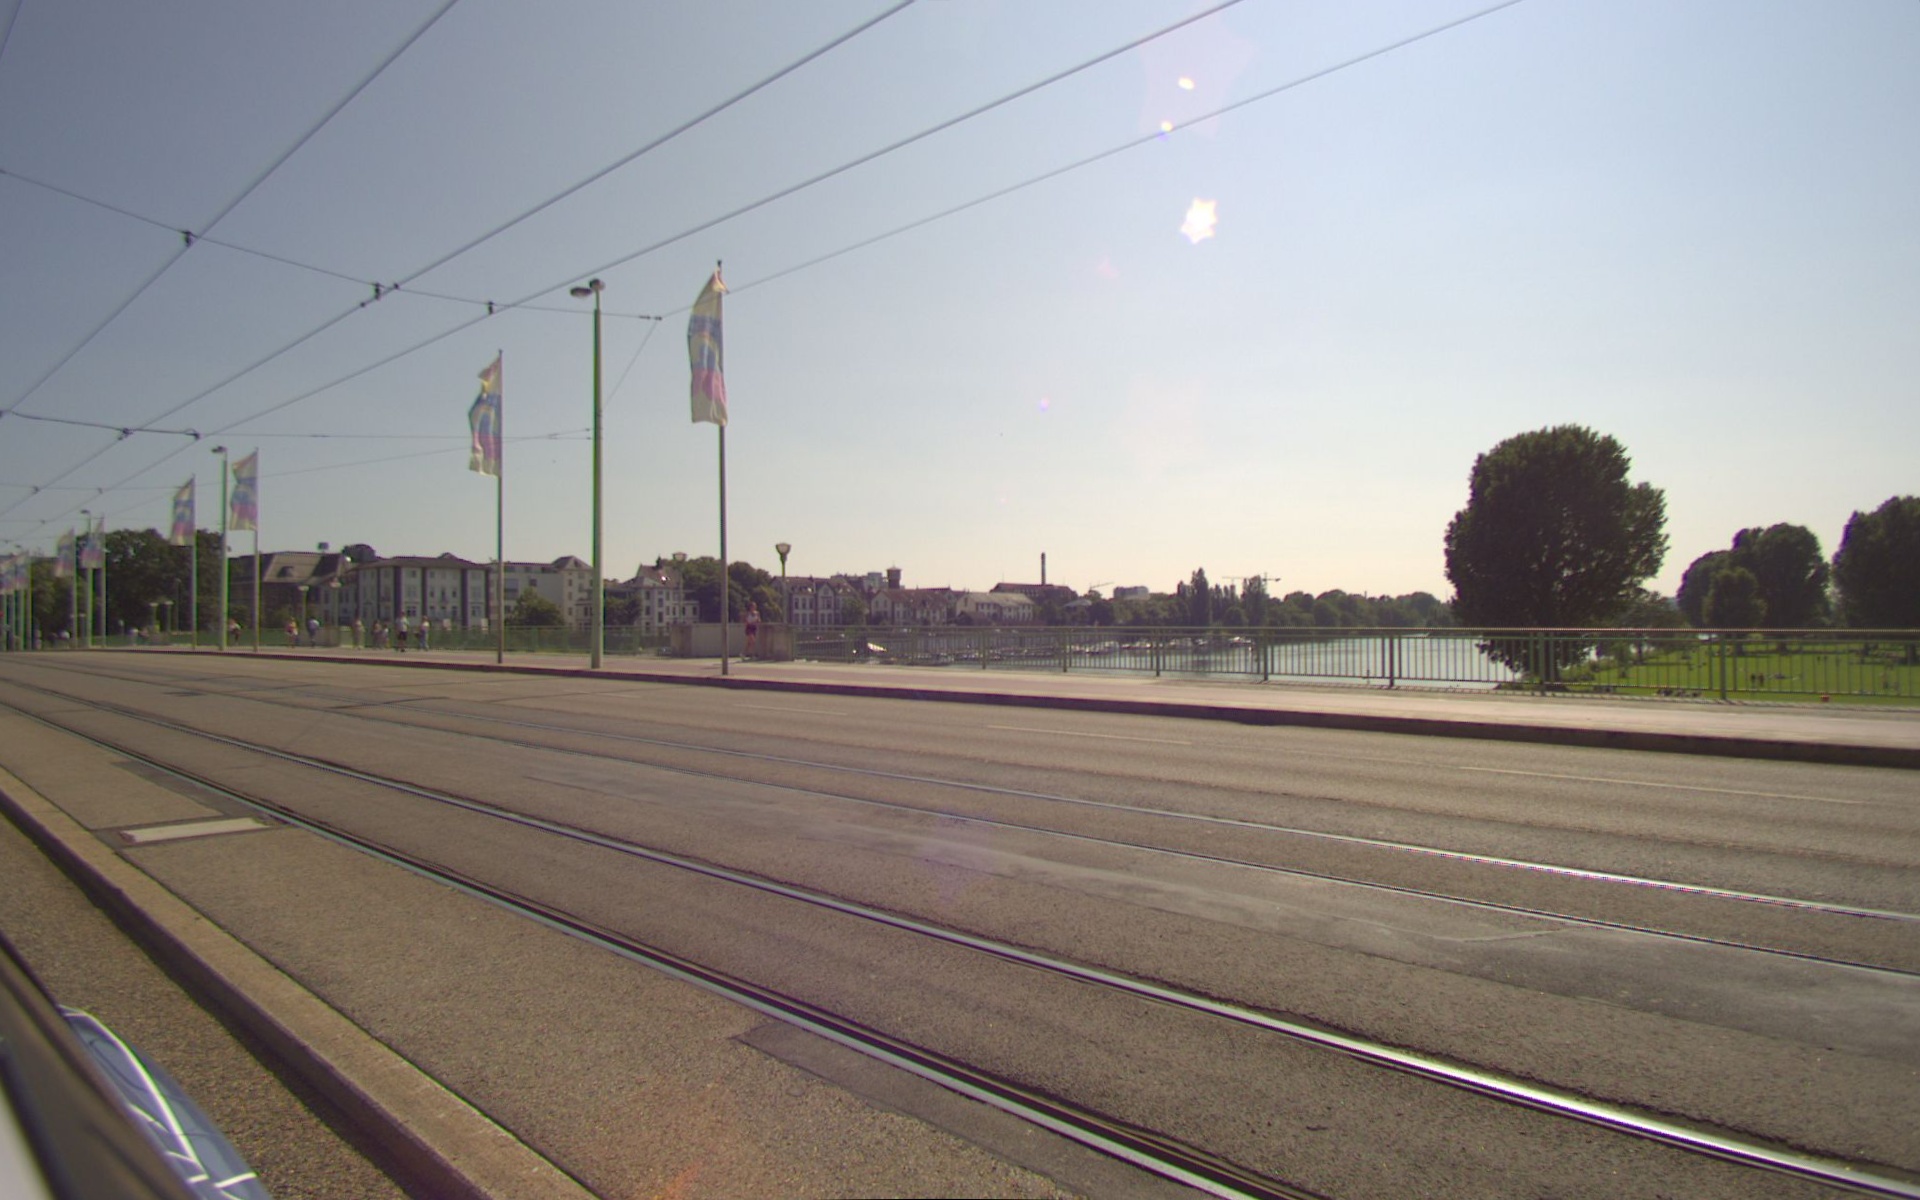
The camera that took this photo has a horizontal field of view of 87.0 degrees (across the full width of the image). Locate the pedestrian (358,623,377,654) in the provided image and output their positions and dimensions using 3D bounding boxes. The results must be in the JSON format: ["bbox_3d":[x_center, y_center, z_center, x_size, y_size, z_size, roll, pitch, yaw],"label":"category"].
[{"bbox_3d":[-28.731,1.859,49.101,0.788,1.448,0.540,-2,0,41],"label":"pedestrian"}]

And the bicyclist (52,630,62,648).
[{"bbox_3d":[-84.989,3.640,95.279,0.621,1.663,0.657,-2,-2,42],"label":"bicyclist"}]

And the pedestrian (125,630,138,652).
[{"bbox_3d":[-68.607,3.373,83.776,1.022,1.712,0.584,-2,3,41],"label":"pedestrian"}]

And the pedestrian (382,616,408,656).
[{"bbox_3d":[-24.722,1.571,44.271,1.022,1.712,0.663,-2,0,41],"label":"pedestrian"}]

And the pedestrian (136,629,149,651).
[{"bbox_3d":[-67.941,3.315,84.118,0.904,1.712,0.584,-2,3,41],"label":"pedestrian"}]

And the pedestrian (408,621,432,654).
[{"bbox_3d":[-23.955,1.644,44.880,1.022,1.425,0.584,-2,0,41],"label":"pedestrian"}]

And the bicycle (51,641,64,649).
[{"bbox_3d":[-84.959,4.243,95.242,2.171,0.721,0.658,-2,-1,41],"label":"bicycle"}]

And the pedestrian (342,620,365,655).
[{"bbox_3d":[-29.186,1.795,48.666,1.022,1.611,0.620,-2,0,41],"label":"pedestrian"}]

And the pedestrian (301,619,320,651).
[{"bbox_3d":[-35.475,1.922,55.275,1.022,1.712,0.584,-2,0,41],"label":"pedestrian"}]

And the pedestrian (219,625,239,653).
[{"bbox_3d":[-45.397,2.416,62.845,1.022,1.712,0.777,-2,1,41],"label":"pedestrian"}]

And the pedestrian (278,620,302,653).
[{"bbox_3d":[-36.149,1.960,54.572,1.022,1.712,0.777,-2,1,41],"label":"pedestrian"}]

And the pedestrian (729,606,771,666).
[{"bbox_3d":[-6.184,1.054,29.824,1.022,1.703,0.677,-2,0,41],"label":"pedestrian"}]
